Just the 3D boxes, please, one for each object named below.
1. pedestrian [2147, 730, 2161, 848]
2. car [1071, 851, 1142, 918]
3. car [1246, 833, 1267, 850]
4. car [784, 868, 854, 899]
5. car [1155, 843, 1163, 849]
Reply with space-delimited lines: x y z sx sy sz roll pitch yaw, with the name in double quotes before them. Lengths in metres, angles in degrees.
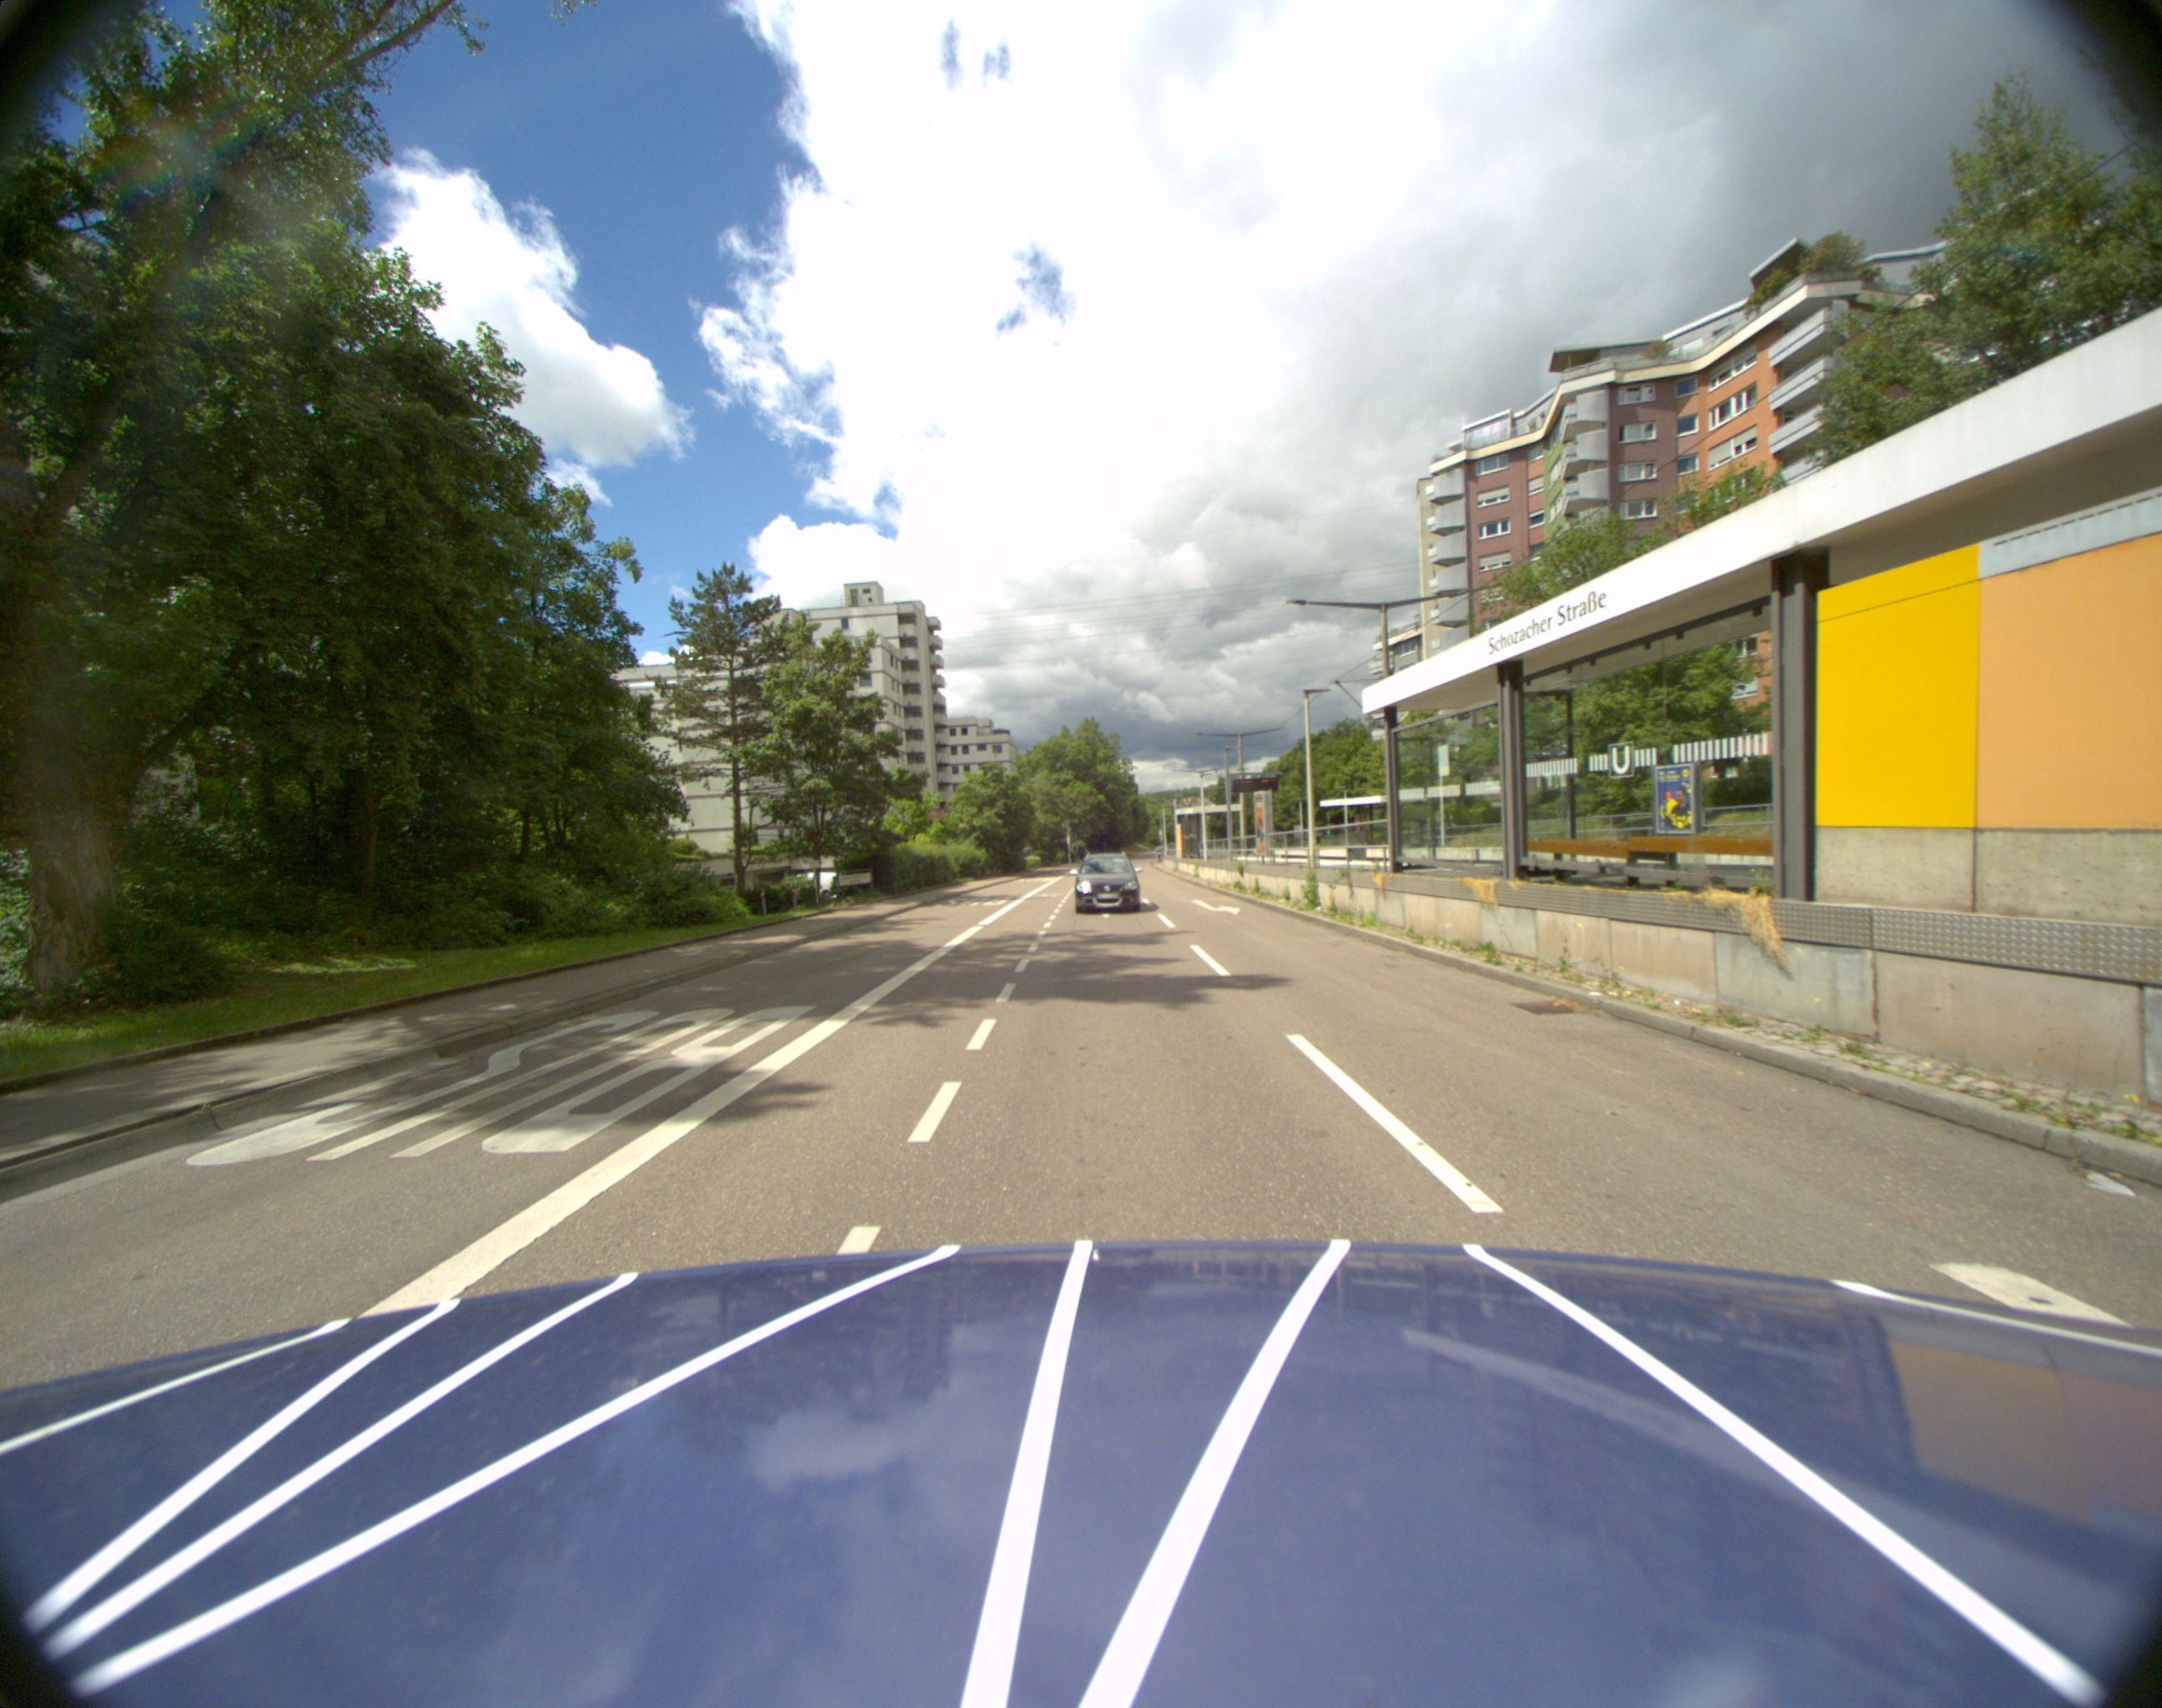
"pedestrian" 15.786 -0.944 10.965 0.354 1.703 0.426 -3 2 -41
"car" 0.708 0.725 20.235 1.641 1.521 4.000 -2 1 3
"car" 22.163 -1.594 96.143 1.737 2.002 4.000 -2 1 2
"car" -19.883 2.232 57.800 4.543 2.002 2.001 -2 1 7
"car" 19.468 -1.940 190.296 1.821 1.377 4.065 -2 1 2
